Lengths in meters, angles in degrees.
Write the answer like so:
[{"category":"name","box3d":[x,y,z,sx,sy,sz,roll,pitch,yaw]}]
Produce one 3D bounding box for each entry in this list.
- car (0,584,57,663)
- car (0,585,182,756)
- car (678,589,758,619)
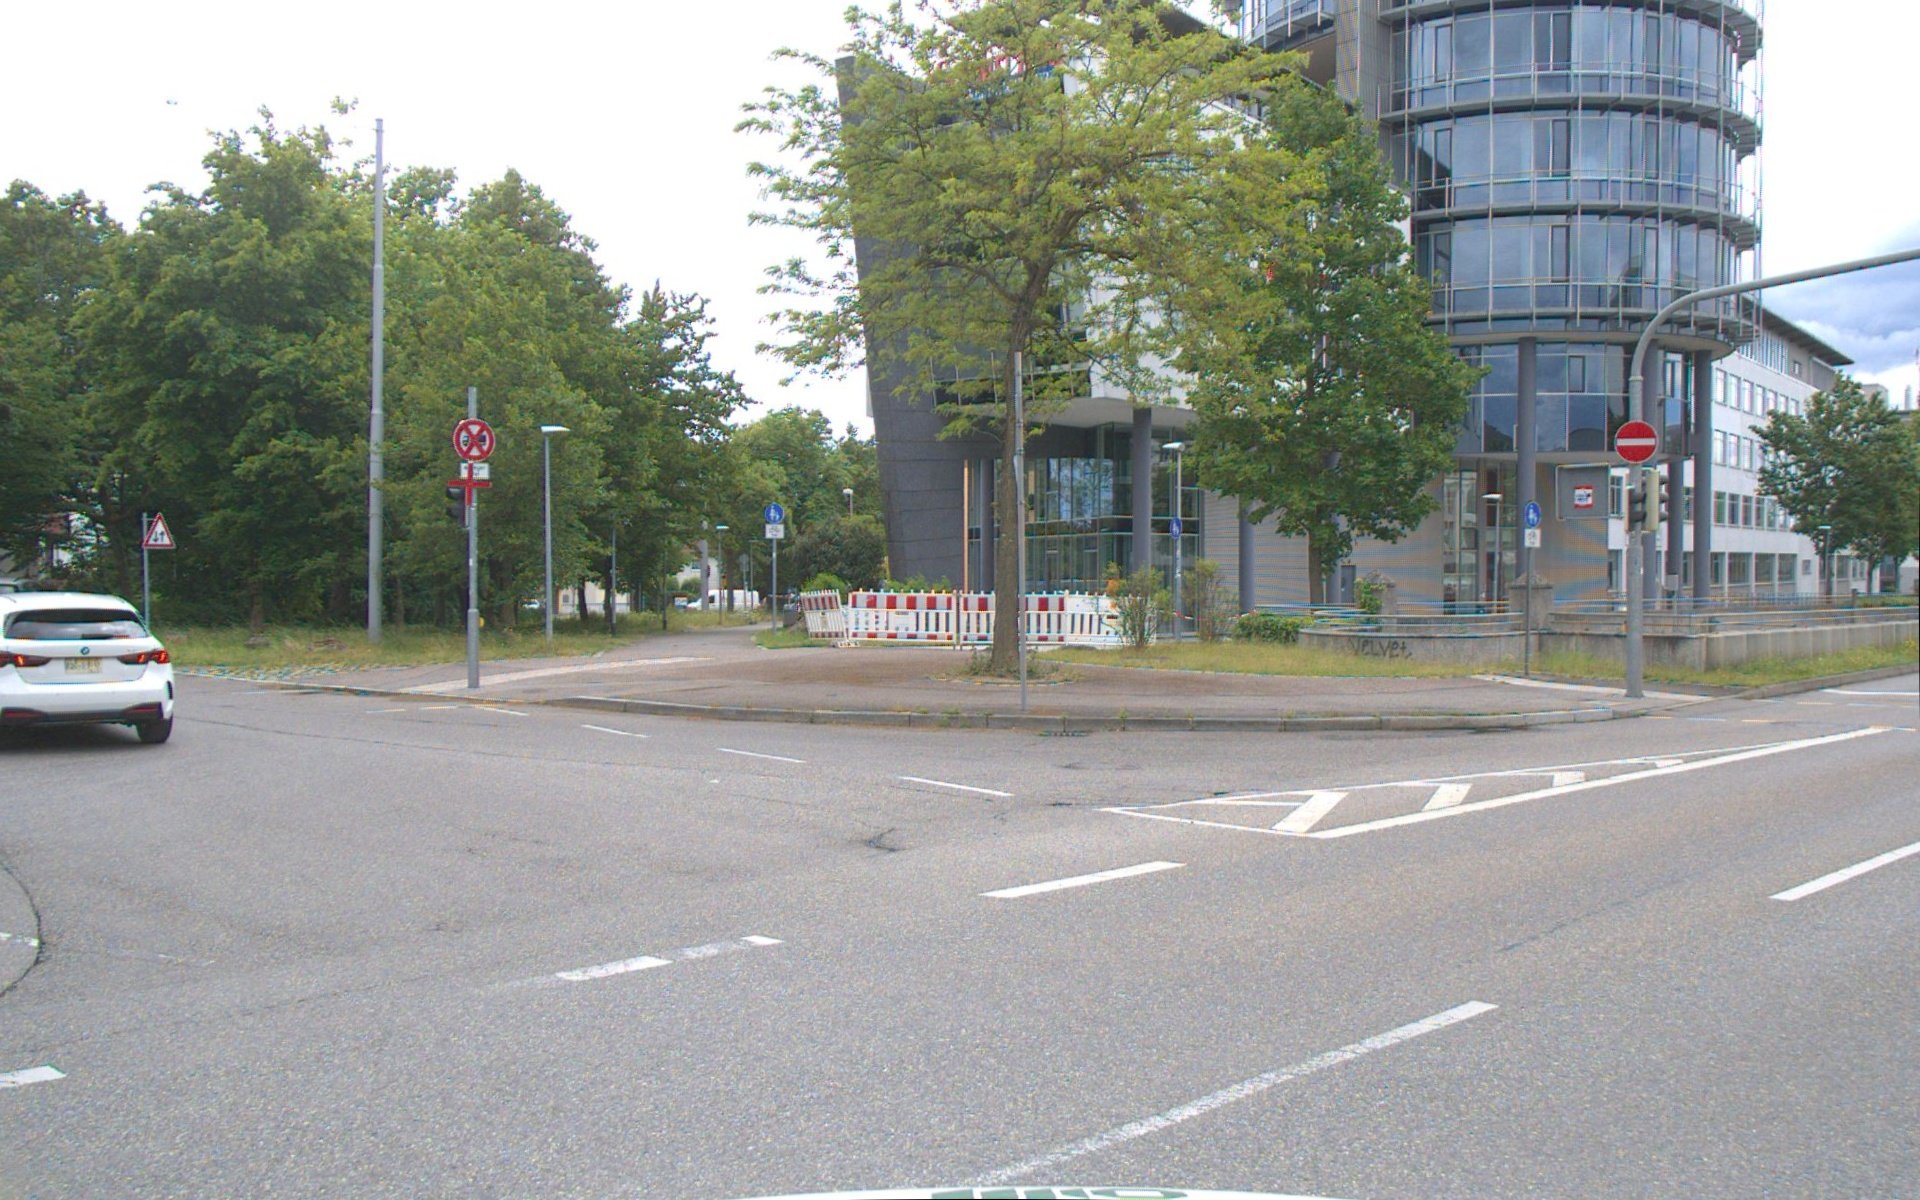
[{"category":"car","box3d":[-20.625,0.515,35.357,1.897,1.601,3.972,0,-1,-23]},{"category":"car","box3d":[-9.478,0.688,16.995,1.784,1.544,4.148,1,-2,-39]},{"category":"car","box3d":[-21.825,0.352,149.524,6.883,2.566,2.064,1,0,-30]}]
